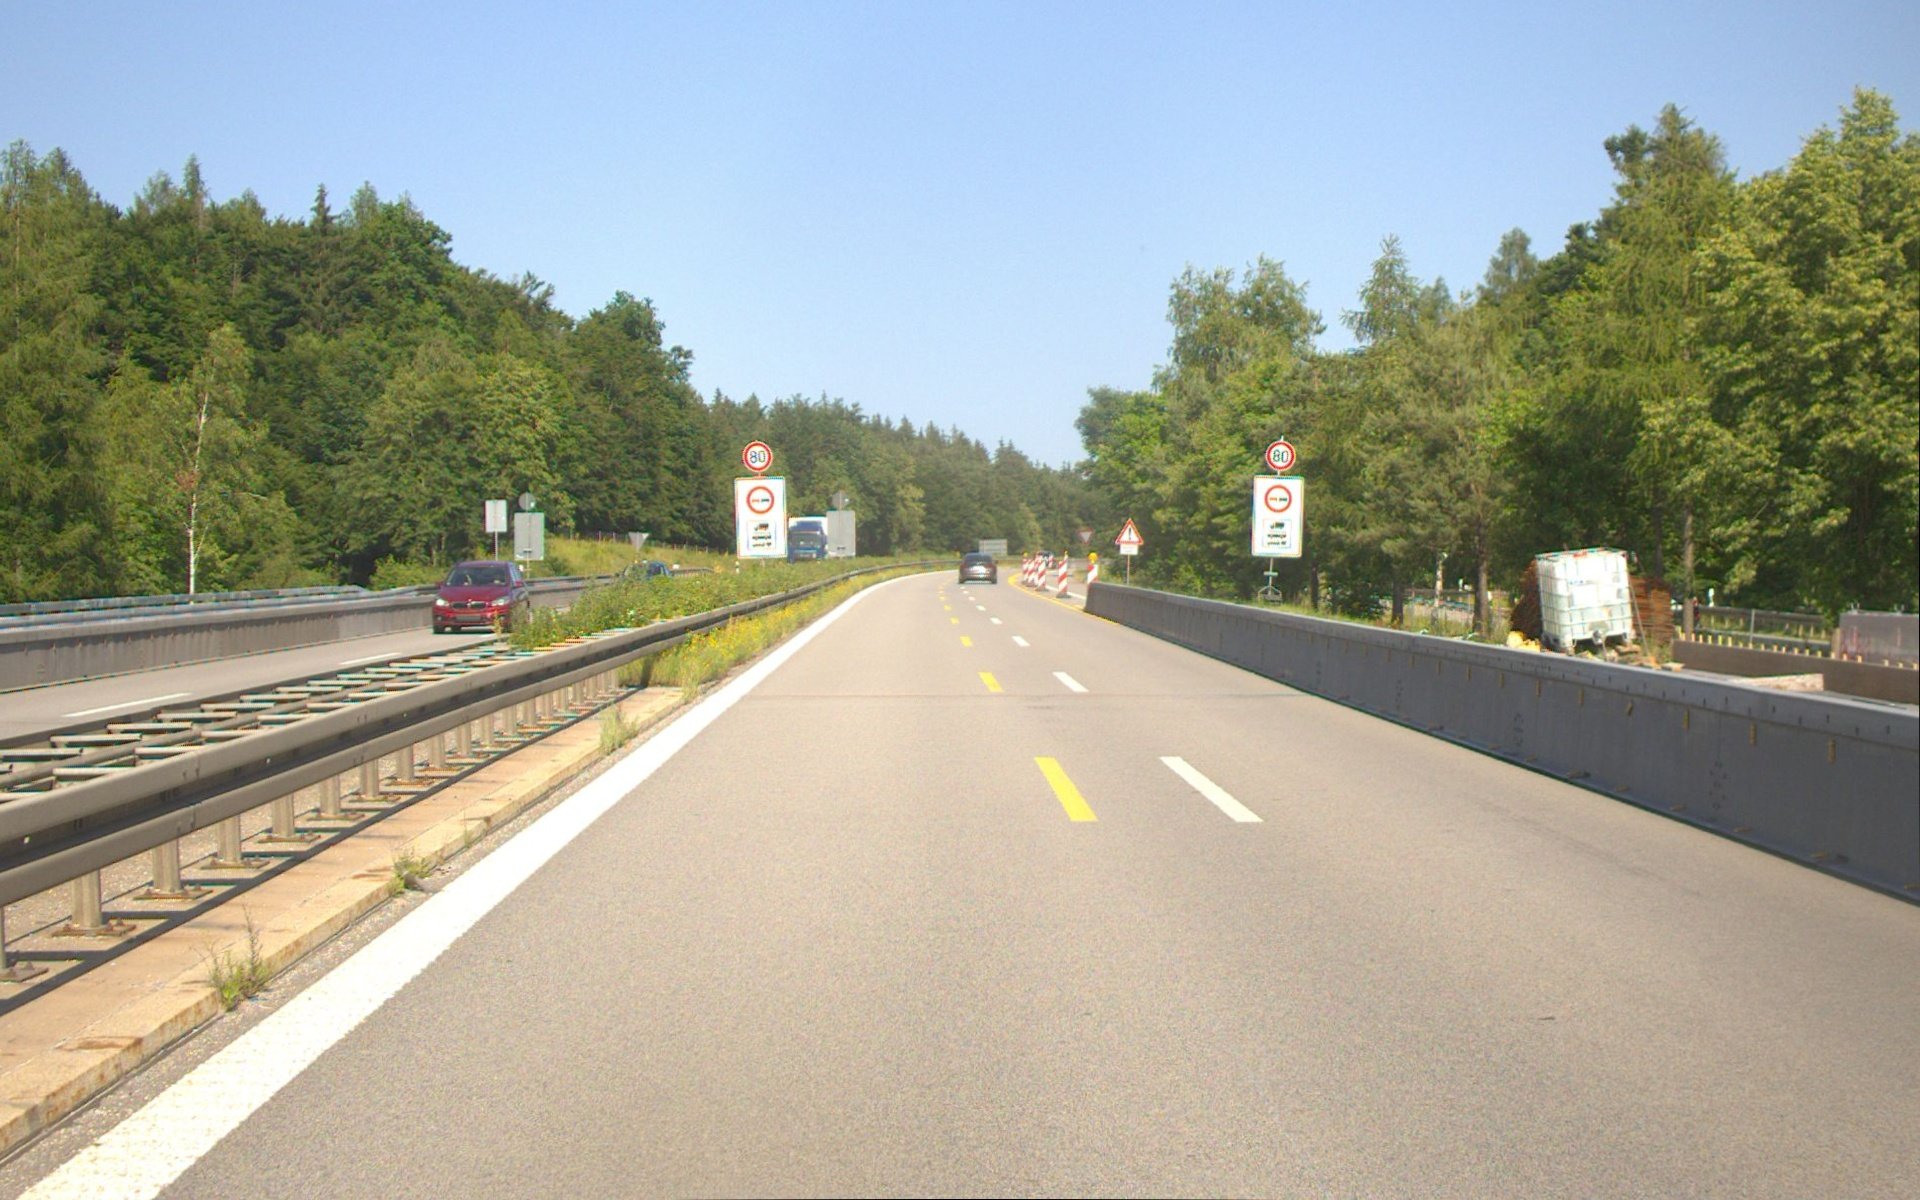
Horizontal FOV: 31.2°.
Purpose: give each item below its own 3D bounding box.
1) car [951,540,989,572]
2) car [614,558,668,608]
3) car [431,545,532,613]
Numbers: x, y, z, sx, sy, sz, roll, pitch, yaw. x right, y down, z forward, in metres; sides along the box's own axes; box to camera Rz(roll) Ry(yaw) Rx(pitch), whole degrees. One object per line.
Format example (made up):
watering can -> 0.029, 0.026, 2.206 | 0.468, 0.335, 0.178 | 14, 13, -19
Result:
car -> 0.483, -2.142, 166.344 | 1.744, 1.461, 4.294 | -1, 1, -1
car -> -11.100, -0.588, 119.652 | 1.527, 1.556, 3.454 | -3, -1, -1
car -> -10.815, -0.490, 77.962 | 1.744, 1.461, 4.294 | -1, 1, -1
